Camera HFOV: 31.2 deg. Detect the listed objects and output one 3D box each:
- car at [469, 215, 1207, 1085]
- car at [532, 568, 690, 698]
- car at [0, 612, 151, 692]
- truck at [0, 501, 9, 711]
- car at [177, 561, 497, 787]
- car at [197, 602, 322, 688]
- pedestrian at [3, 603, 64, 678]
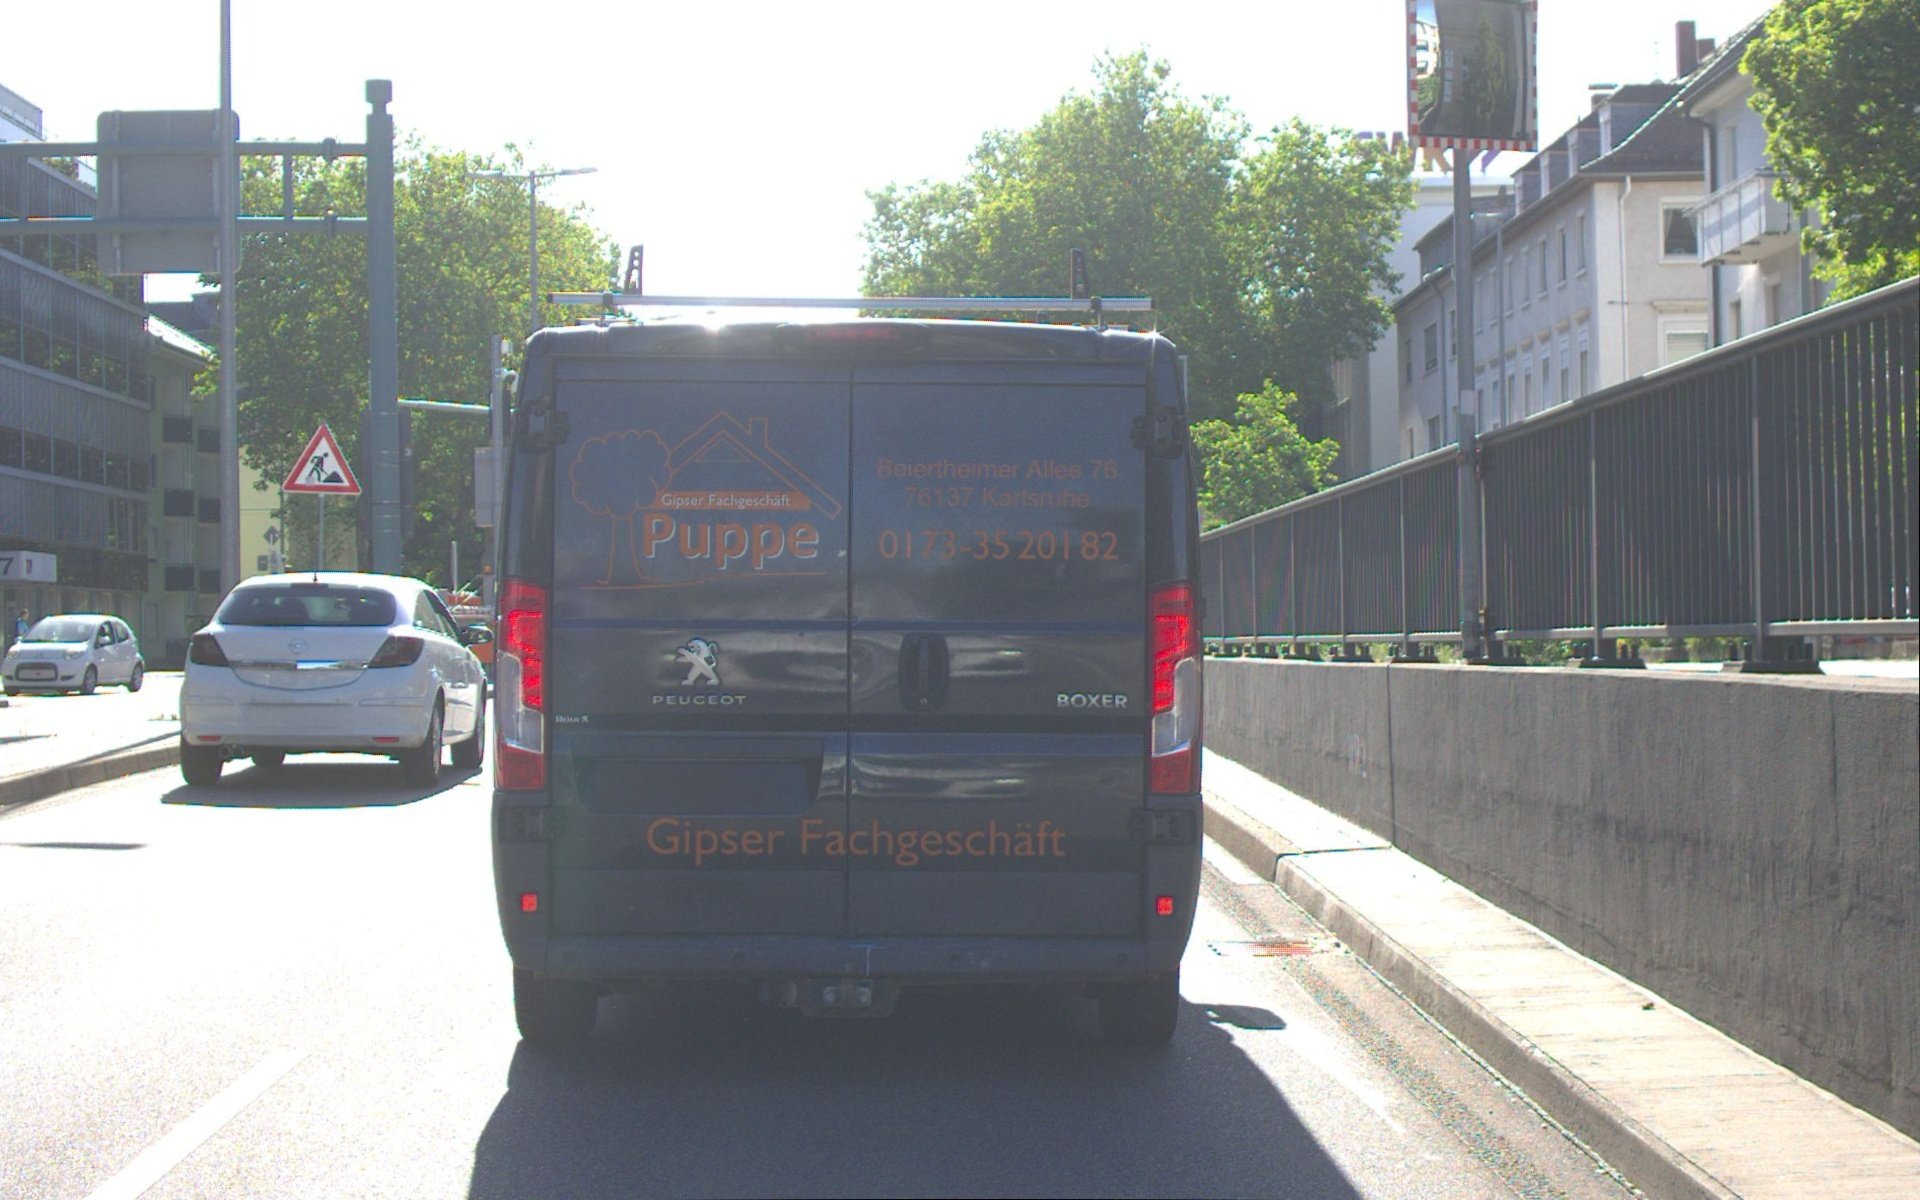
[{"bbox_3d":[-0.374,0.134,11.458,2.030,2.394,3.973,0,0,-1],"label":"car"},{"bbox_3d":[-4.257,0.377,42.304,1.689,1.478,3.319,1,1,-2],"label":"car"},{"bbox_3d":[-16.398,0.937,63.391,1.677,1.405,3.614,0,0,8],"label":"car"},{"bbox_3d":[-12.608,0.100,38.369,2.229,2.519,6.129,-2,0,0],"label":"truck"},{"bbox_3d":[-4.285,0.456,24.144,1.619,1.398,3.852,1,1,-1],"label":"car"},{"bbox_3d":[-12.722,0.796,62.575,1.591,1.440,3.496,-3,0,-2],"label":"car"},{"bbox_3d":[-24.476,1.066,90.829,1.332,1.925,1.026,1,0,-1],"label":"pedestrian"}]
